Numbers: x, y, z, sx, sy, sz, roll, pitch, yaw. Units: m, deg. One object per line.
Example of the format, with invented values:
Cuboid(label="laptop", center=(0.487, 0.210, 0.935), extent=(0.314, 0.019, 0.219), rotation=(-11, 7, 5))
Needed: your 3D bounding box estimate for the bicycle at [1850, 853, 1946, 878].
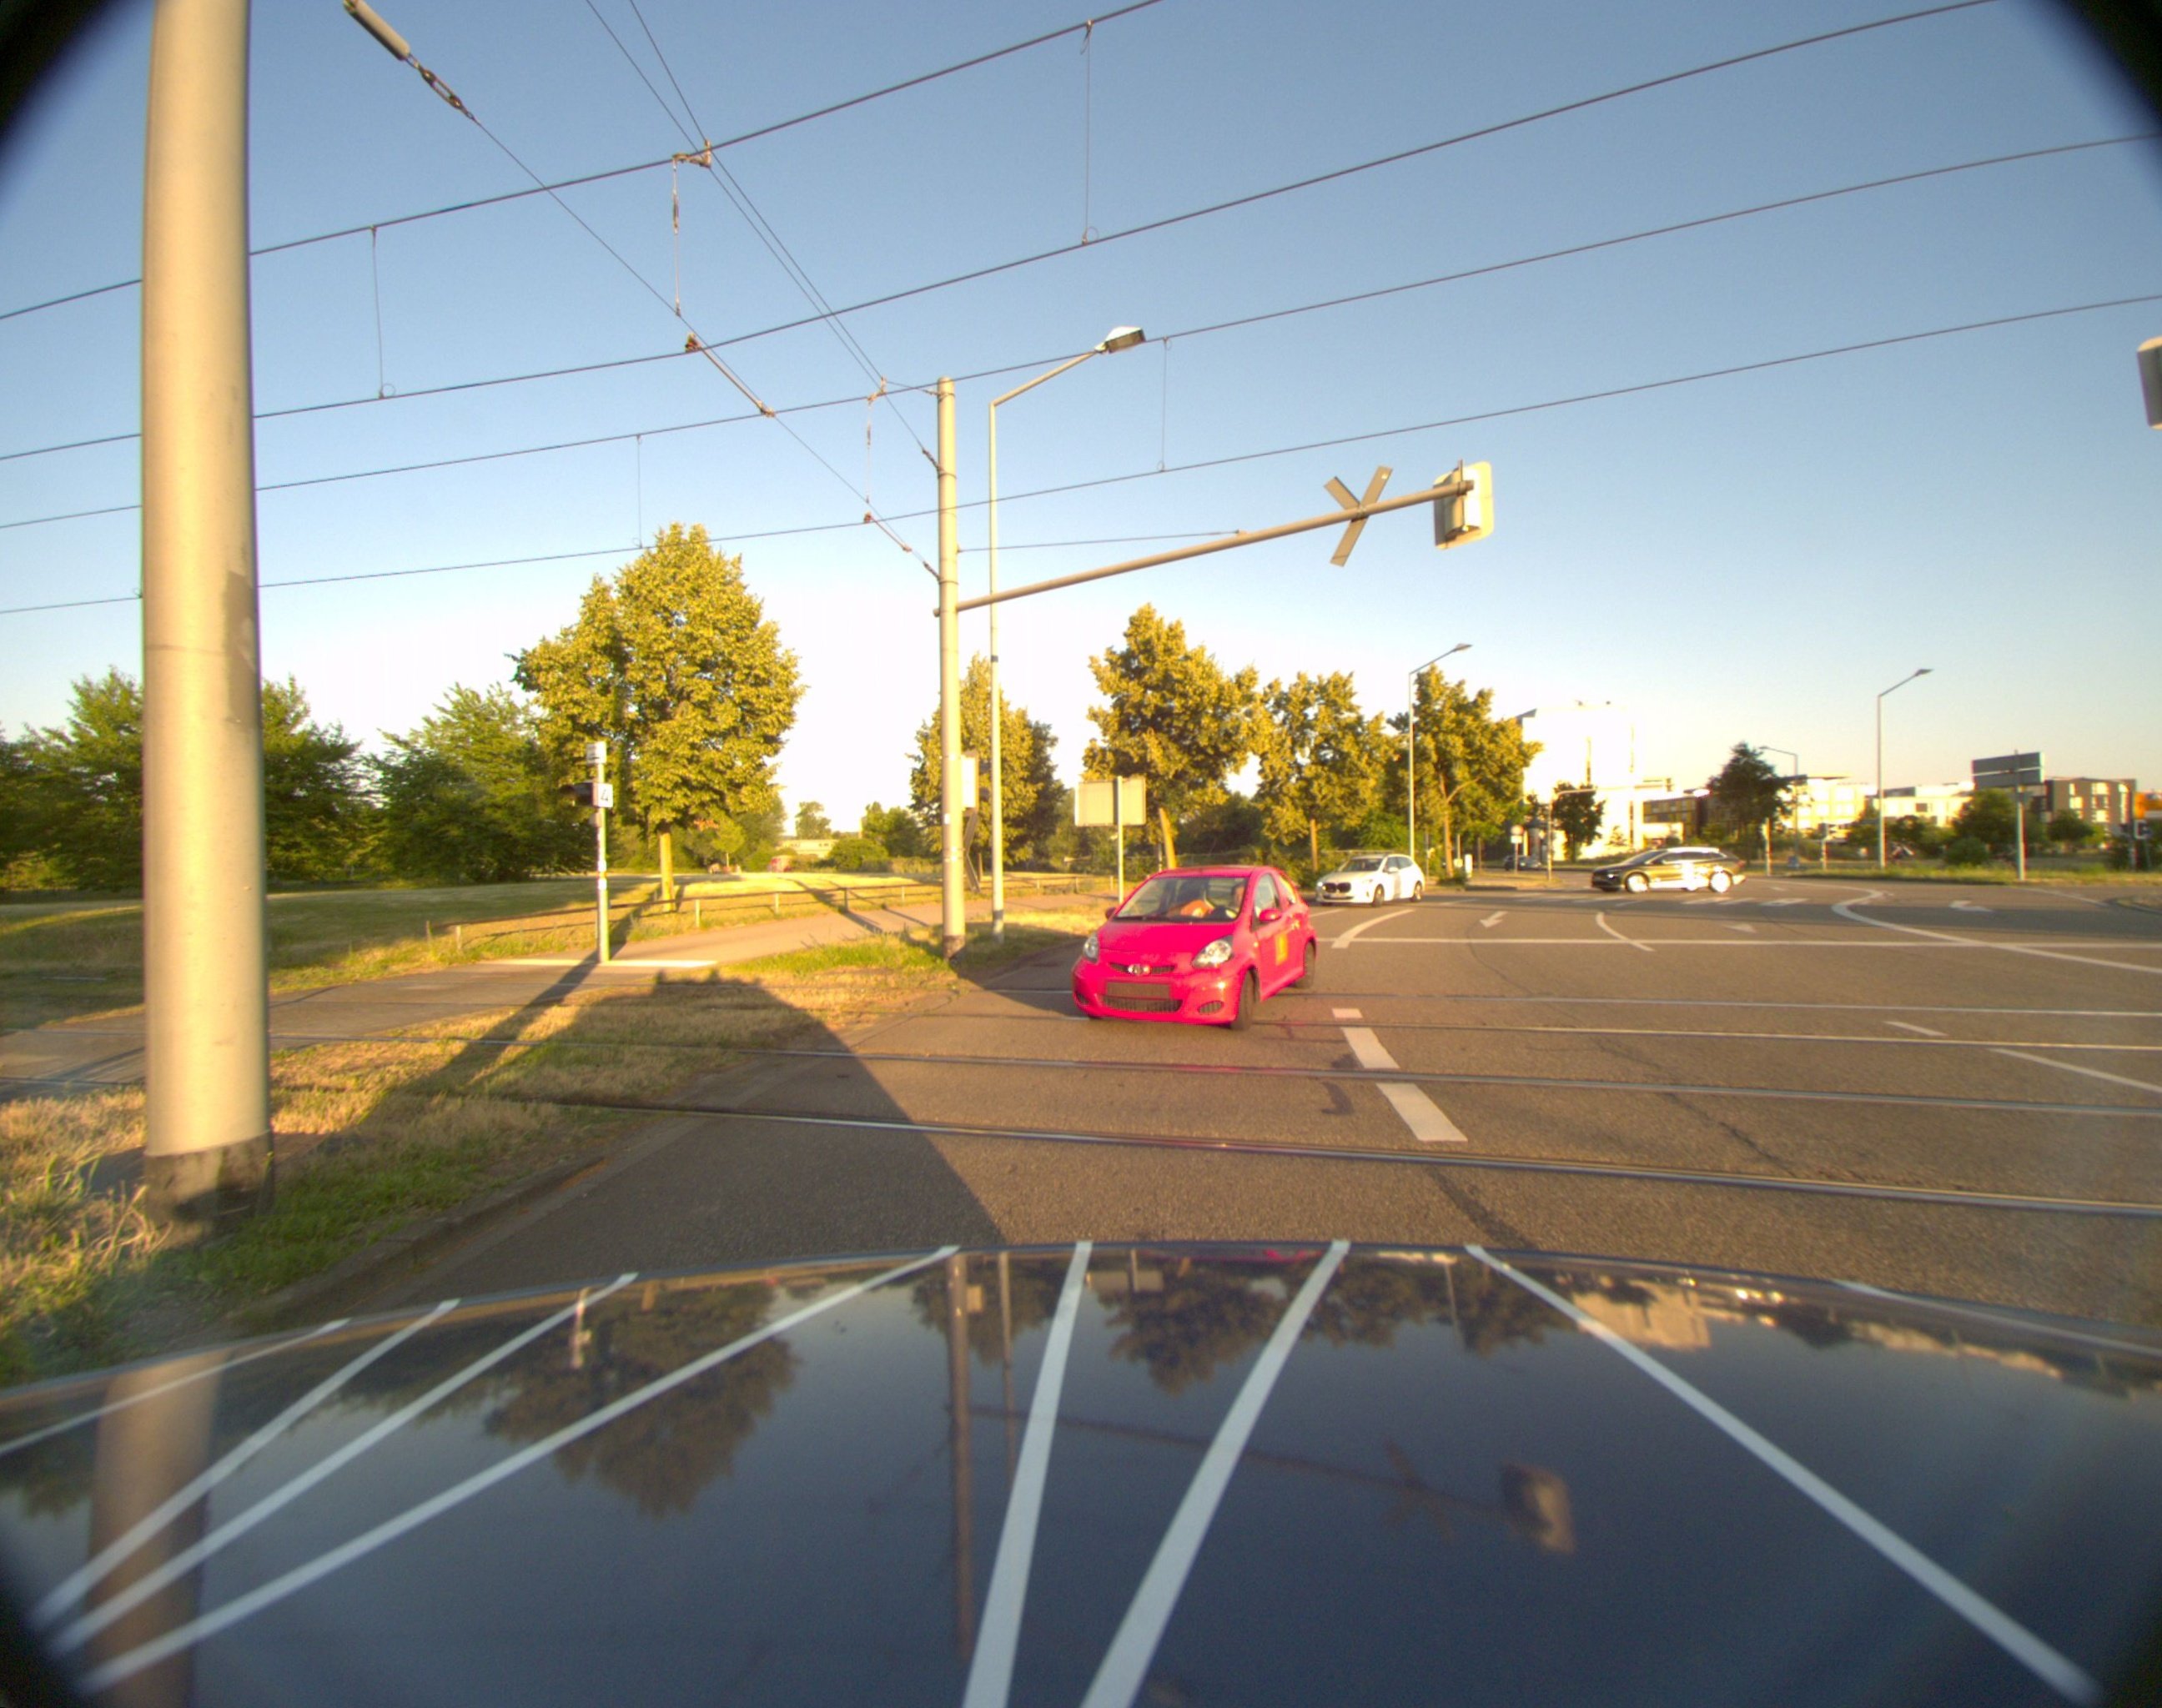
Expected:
Cuboid(label="bicycle", center=(46.257, 0.642, 43.116), extent=(3.529, 1.387, 1.126), rotation=(-1, 1, 33))

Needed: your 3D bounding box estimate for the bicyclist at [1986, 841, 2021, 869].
Cuboid(label="bicyclist", center=(53.193, 0.058, 43.831), extent=(0.998, 1.623, 0.812), rotation=(-1, 1, 22))

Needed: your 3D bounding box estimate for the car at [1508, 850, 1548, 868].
Cuboid(label="car", center=(42.118, 0.442, 71.704), extent=(1.870, 1.616, 4.196), rotation=(-1, 1, 10))

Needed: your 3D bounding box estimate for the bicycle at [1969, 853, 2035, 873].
Cuboid(label="bicycle", center=(53.140, 0.521, 43.861), extent=(2.323, 1.172, 0.812), rotation=(-1, 1, 22))

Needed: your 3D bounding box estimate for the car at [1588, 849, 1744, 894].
Cuboid(label="car", center=(21.482, 0.643, 28.034), extent=(4.209, 1.549, 1.829), rotation=(-1, 0, 7))

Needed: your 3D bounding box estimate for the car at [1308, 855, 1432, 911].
Cuboid(label="car", center=(8.993, 0.833, 23.486), extent=(4.223, 1.549, 1.755), rotation=(0, 0, -41))

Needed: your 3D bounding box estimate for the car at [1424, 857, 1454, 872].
Cuboid(label="car", center=(40.998, 1.188, 87.017), extent=(1.871, 1.616, 4.194), rotation=(-1, 1, 7))

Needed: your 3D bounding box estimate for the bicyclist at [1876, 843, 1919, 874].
Cuboid(label="bicyclist", center=(46.292, 0.242, 43.091), extent=(1.413, 1.739, 1.126), rotation=(0, 1, 33))

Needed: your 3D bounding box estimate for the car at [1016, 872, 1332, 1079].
Cuboid(label="car", center=(1.255, 0.962, 7.870), extent=(1.690, 1.413, 4.219), rotation=(-1, 0, 30))
